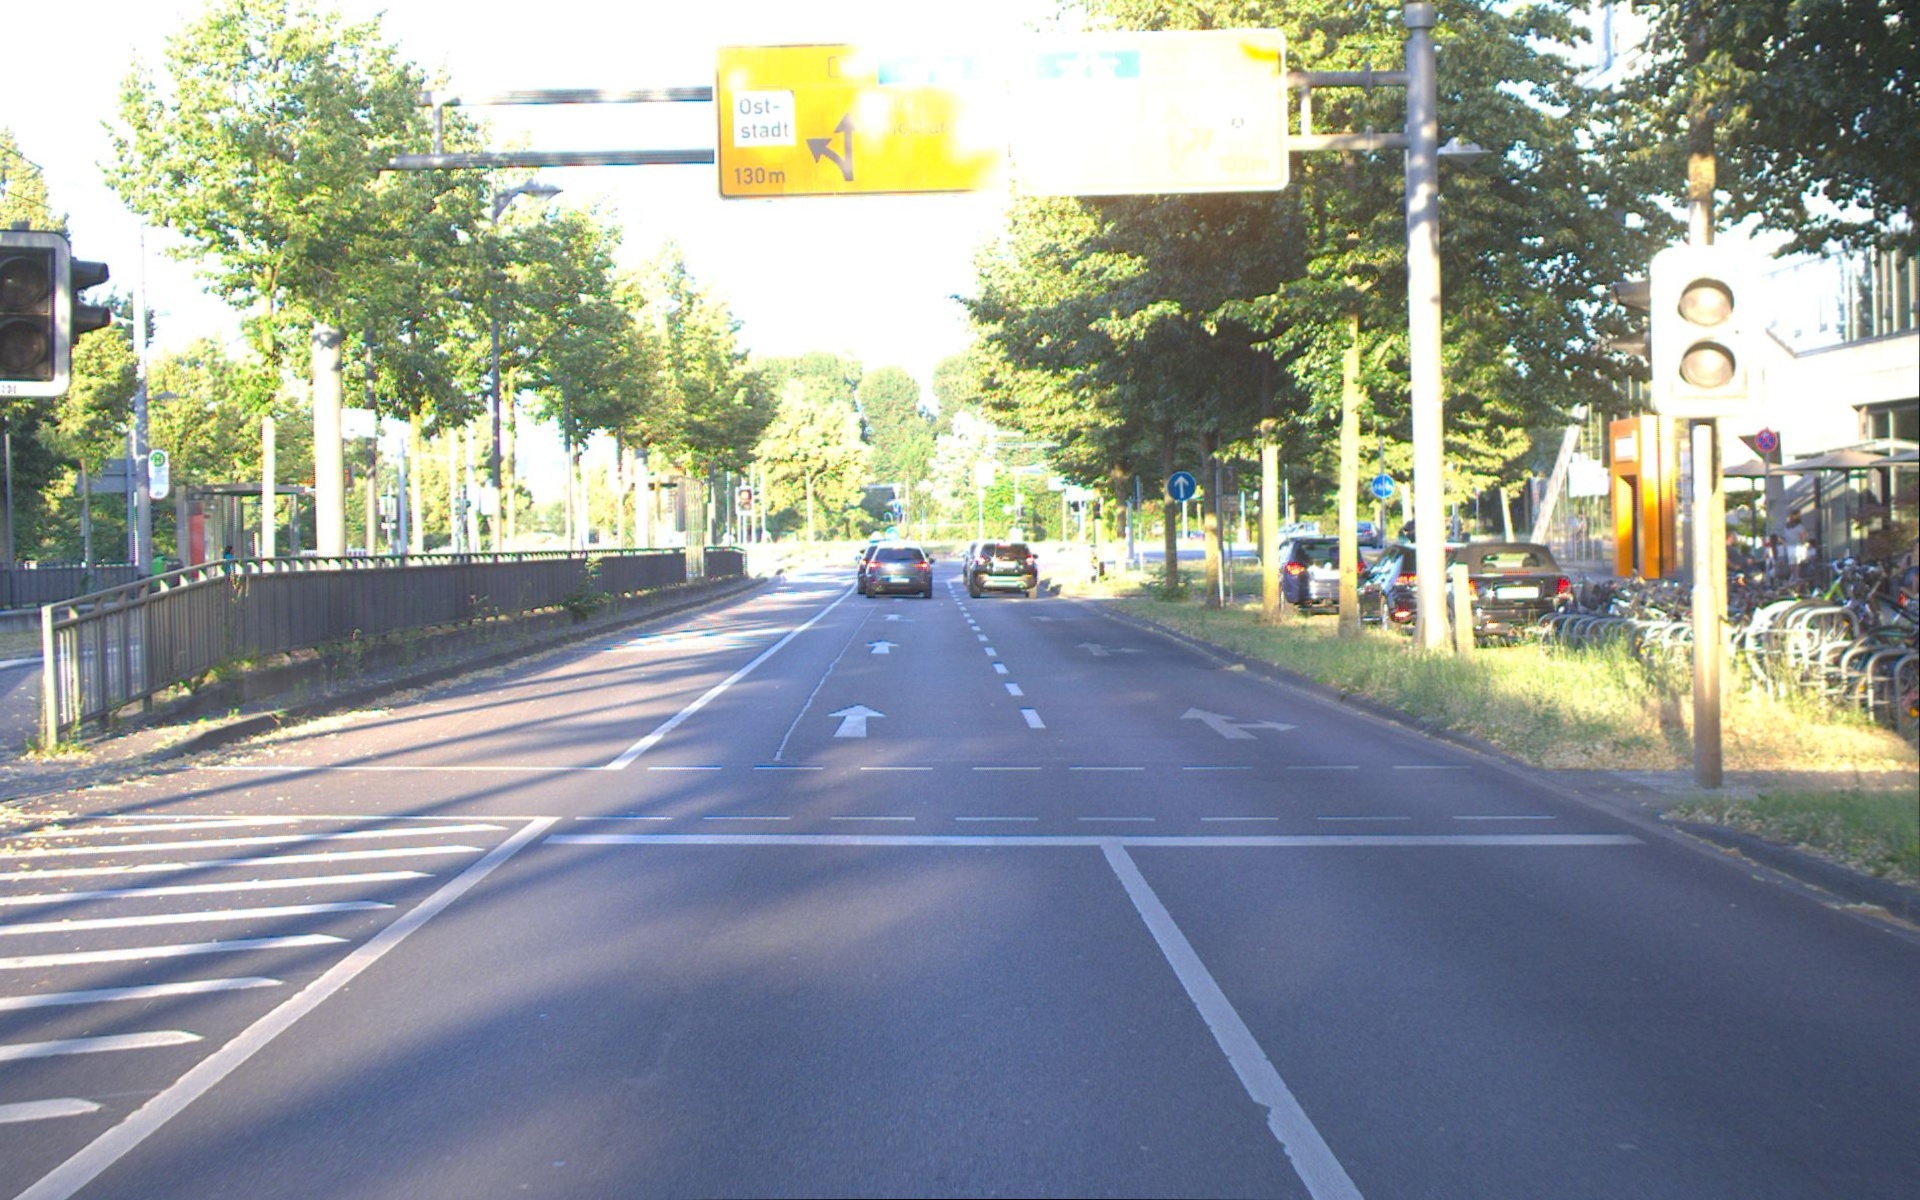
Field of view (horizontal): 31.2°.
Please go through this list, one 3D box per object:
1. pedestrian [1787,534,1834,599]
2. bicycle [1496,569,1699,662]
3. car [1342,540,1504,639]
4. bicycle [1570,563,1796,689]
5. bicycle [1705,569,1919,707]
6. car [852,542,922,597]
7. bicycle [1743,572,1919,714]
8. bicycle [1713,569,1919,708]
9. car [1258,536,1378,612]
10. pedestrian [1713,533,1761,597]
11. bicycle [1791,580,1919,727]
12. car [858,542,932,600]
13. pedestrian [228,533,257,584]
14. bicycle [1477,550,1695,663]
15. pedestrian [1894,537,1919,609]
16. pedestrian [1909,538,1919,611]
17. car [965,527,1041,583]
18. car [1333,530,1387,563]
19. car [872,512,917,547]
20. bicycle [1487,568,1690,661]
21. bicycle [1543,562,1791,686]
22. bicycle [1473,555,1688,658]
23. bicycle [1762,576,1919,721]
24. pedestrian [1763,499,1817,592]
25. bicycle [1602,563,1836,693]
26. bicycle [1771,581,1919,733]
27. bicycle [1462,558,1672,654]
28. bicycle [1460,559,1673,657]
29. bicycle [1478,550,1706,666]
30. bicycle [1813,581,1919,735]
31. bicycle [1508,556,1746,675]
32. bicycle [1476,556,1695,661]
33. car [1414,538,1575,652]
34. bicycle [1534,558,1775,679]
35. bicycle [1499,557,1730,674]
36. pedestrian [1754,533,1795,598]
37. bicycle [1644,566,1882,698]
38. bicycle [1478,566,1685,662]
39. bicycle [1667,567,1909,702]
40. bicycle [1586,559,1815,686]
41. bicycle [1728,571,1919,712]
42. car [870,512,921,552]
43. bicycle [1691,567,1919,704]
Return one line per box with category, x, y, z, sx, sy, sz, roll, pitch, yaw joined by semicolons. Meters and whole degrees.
pedestrian;16.952;-0.676;68.538;0.579;1.278;0.739;-1;1;-19
bicycle;7.199;0.172;38.828;2.142;0.936;0.545;3;1;-7
car;7.214;-0.202;53.973;1.777;1.467;4.289;-1;1;-2
bicycle;6.602;0.238;31.418;1.941;1.050;0.404;3;1;-7
bicycle;7.139;0.313;28.254;1.941;1.050;0.348;3;1;-8
car;-2.082;-0.888;97.932;1.911;1.481;4.000;-1;1;-1
bicycle;7.193;0.348;27.045;1.941;1.050;0.409;3;1;-8
bicycle;7.122;0.319;27.886;1.941;1.050;0.314;3;1;-8
car;7.150;-0.545;69.018;1.756;1.461;4.159;-1;1;-3
pedestrian;15.562;-0.702;68.857;0.625;1.278;0.717;-1;1;-22
bicycle;7.304;0.419;25.888;1.941;1.050;0.545;2;1;-11
car;-1.739;-0.784;91.380;1.911;1.481;4.000;-1;1;-1
pedestrian;-18.669;-1.084;89.452;0.614;1.315;0.745;-1;1;-4
bicycle;6.382;0.063;35.059;2.142;1.050;0.300;3;1;-7
pedestrian;16.120;-0.460;57.855;0.571;1.191;0.806;-1;1;0
pedestrian;16.102;-0.432;56.912;0.571;1.191;0.806;-1;1;2
car;1.141;-1.227;93.069;1.911;1.481;4.000;-1;1;-1
car;21.282;-2.863;182.809;1.995;1.722;3.996;-1;1;20
car;-2.866;-3.042;149.252;1.911;1.481;4.000;-1;1;-1
bicycle;6.996;0.161;38.302;2.142;0.936;0.443;3;1;-7
bicycle;6.597;0.220;32.107;2.142;1.050;0.571;3;1;-7
bicycle;6.496;0.065;36.000;2.142;0.970;0.443;3;1;-7
bicycle;7.239;0.389;26.507;1.941;1.050;0.545;3;1;-8
pedestrian;15.696;-1.034;64.999;0.703;1.731;0.689;-1;1;-31
bicycle;6.723;0.247;30.466;1.941;1.050;0.404;3;1;-3
bicycle;6.969;0.430;25.158;1.941;1.050;0.545;2;1;-15
bicycle;6.532;0.063;37.026;2.142;0.936;0.452;3;1;-7
bicycle;6.439;0.085;36.518;2.142;0.936;0.443;3;1;-7
bicycle;6.346;0.078;34.561;2.142;1.050;0.525;3;1;-7
bicycle;7.132;0.437;24.559;1.941;1.050;0.545;2;1;-15
bicycle;6.472;0.150;33.387;2.142;1.050;0.571;3;1;-7
bicycle;6.455;0.088;35.490;2.142;0.983;0.443;3;1;-7
car;7.245;-0.096;46.913;1.575;1.467;3.881;-1;1;0
bicycle;6.615;0.173;32.779;2.142;1.050;0.562;3;1;-7
bicycle;6.472;0.148;34.016;2.142;1.050;0.525;3;1;-7
pedestrian;16.222;-0.684;68.507;0.579;1.278;0.739;-1;1;-4
bicycle;6.972;0.274;29.852;1.941;1.050;0.414;3;1;-8
bicycle;6.767;0.148;37.442;2.142;0.936;0.443;3;1;-7
bicycle;7.048;0.292;29.271;1.941;1.050;0.414;3;1;-8
bicycle;6.664;0.199;30.951;1.941;1.050;0.404;3;1;-7
bicycle;7.172;0.339;27.488;1.941;1.050;0.409;3;1;-8
car;-2.488;-2.604;132.276;1.911;1.481;4.000;-1;1;-1
bicycle;7.141;0.298;28.747;1.941;1.050;0.414;3;1;-8
